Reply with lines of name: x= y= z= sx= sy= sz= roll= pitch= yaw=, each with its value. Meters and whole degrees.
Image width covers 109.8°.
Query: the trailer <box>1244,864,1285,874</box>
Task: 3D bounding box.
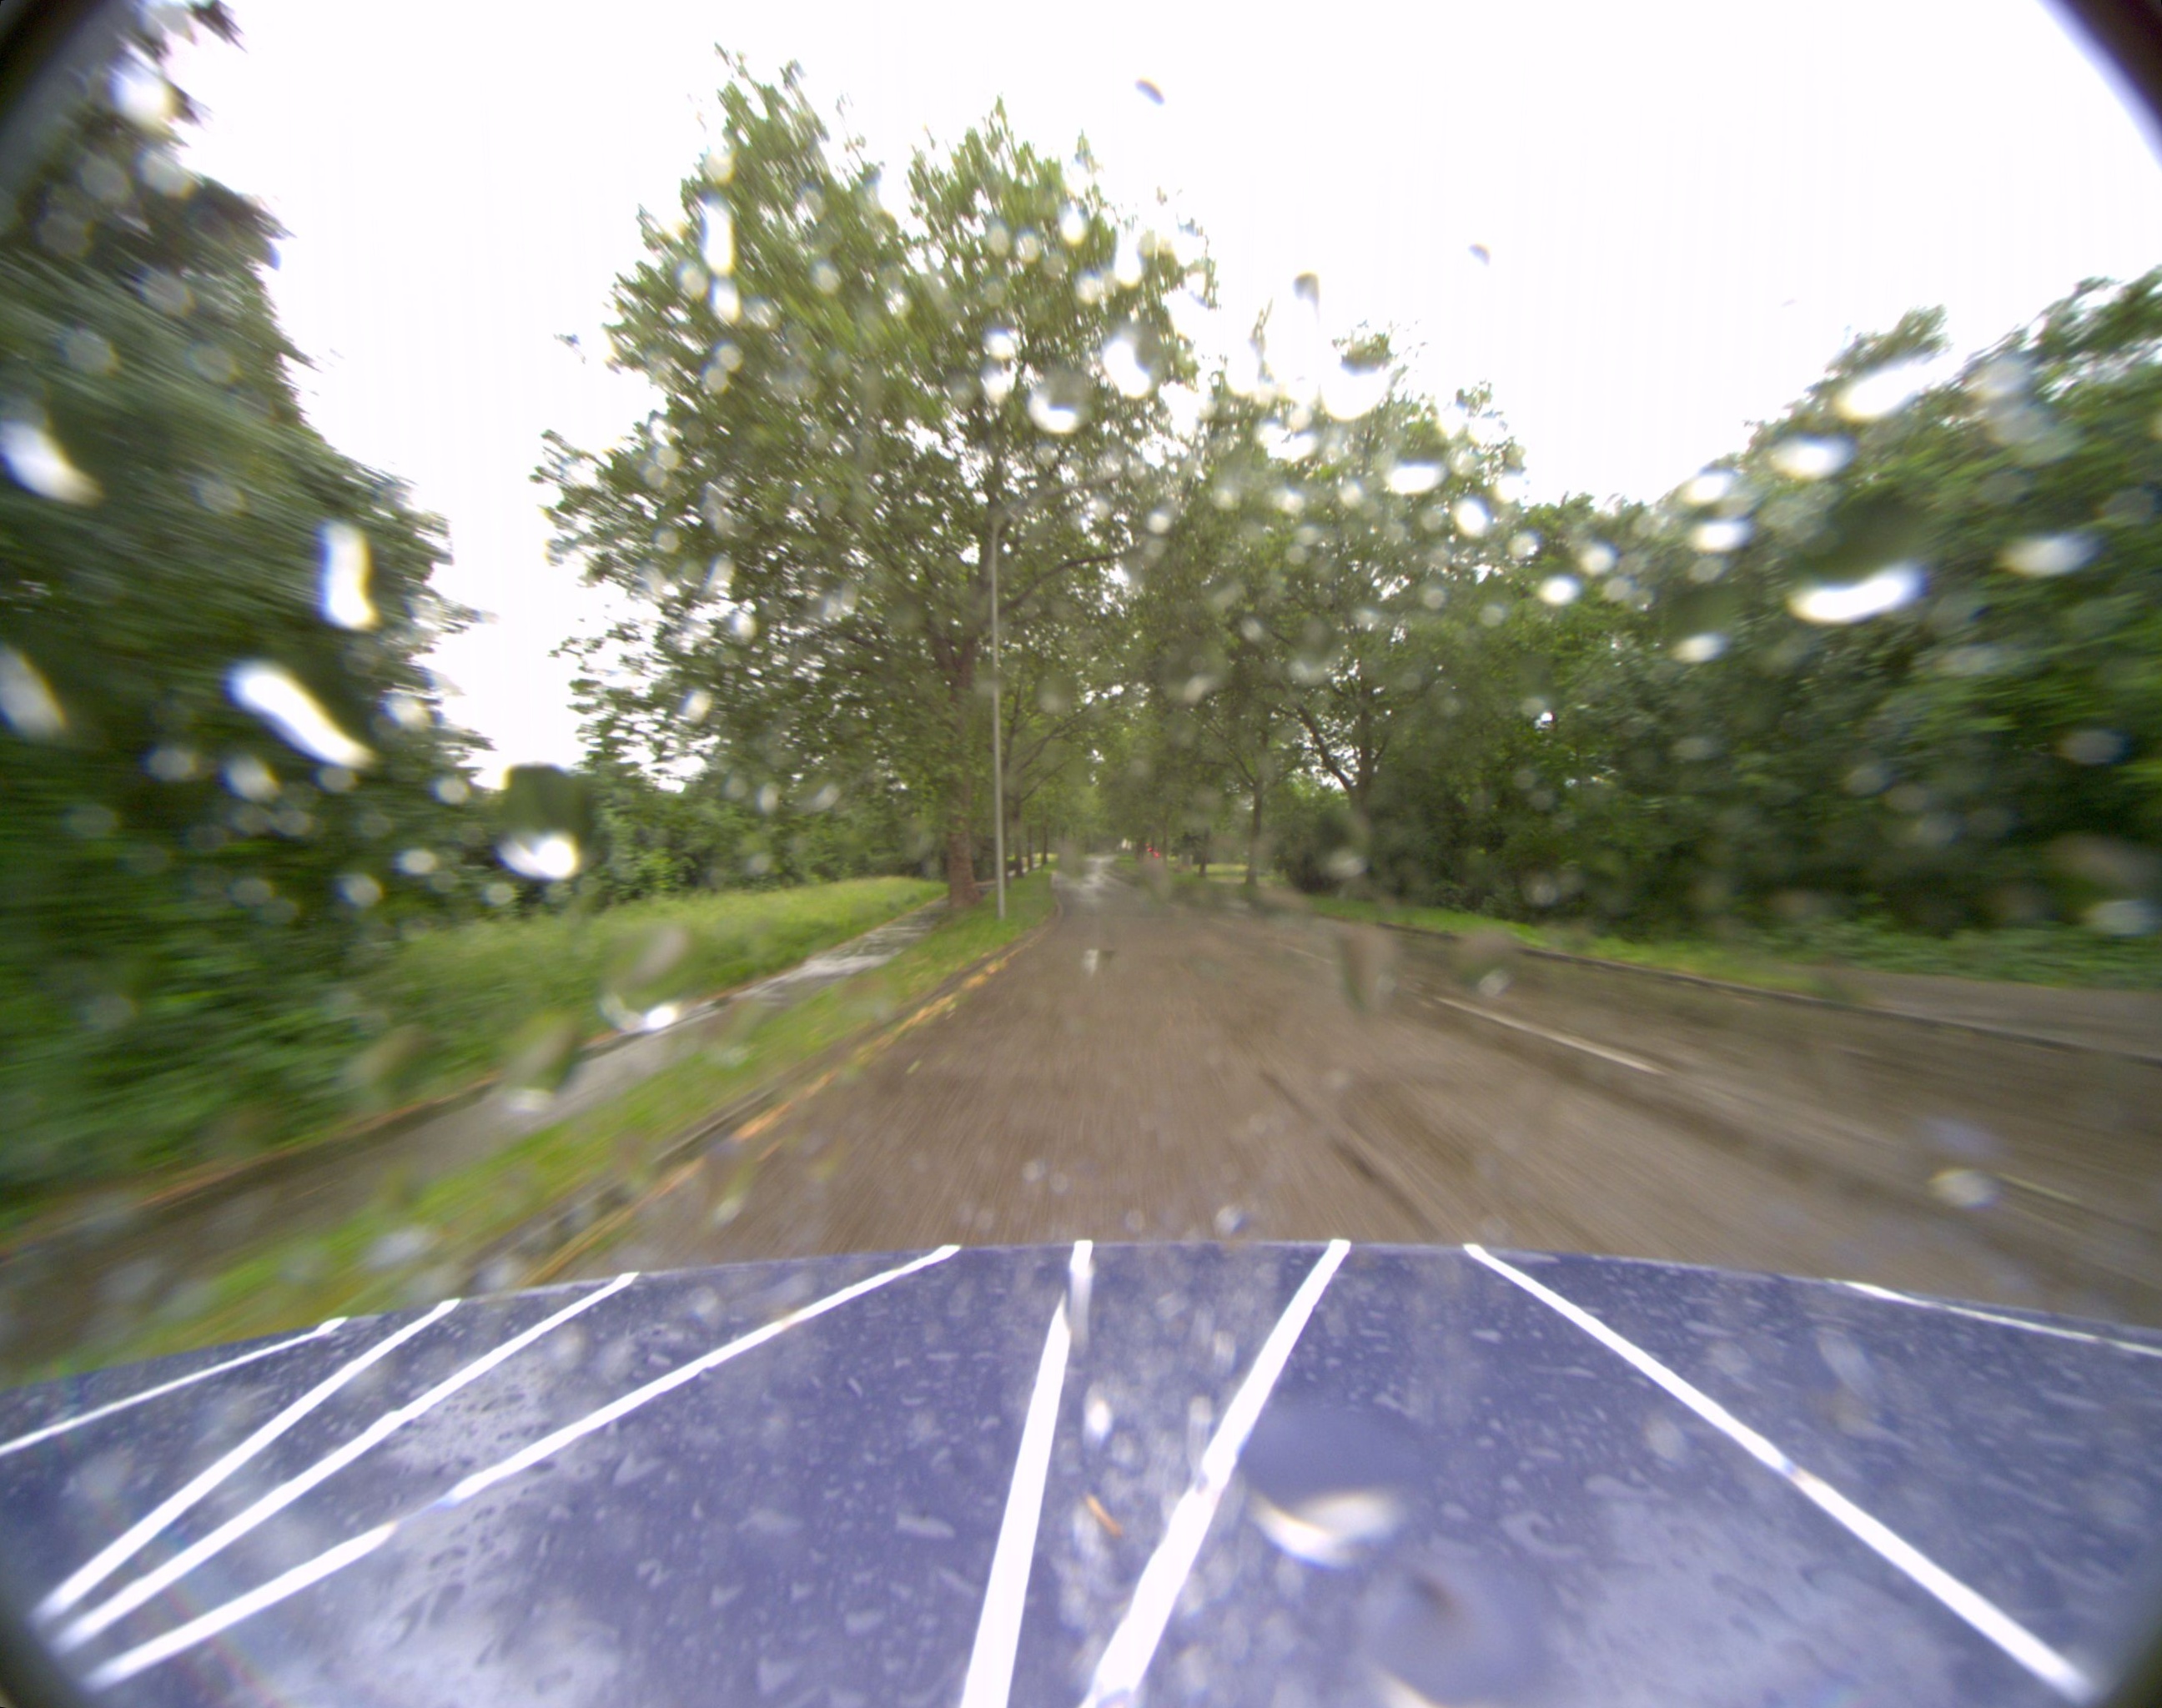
trailer: x=21.725 y=1.769 z=90.164 sx=4.327 sy=1.026 sz=2.381 roll=1 pitch=1 yaw=-1

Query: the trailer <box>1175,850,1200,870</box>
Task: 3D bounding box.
trailer: x=15.199 y=0.769 z=108.459 sx=2.804 sy=2.648 sz=6.652 roll=1 pitch=1 yaw=2

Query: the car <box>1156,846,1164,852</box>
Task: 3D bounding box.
car: x=24.638 y=-1.554 z=237.660 sx=1.896 sy=1.673 sz=4.004 roll=1 pitch=1 yaw=15
